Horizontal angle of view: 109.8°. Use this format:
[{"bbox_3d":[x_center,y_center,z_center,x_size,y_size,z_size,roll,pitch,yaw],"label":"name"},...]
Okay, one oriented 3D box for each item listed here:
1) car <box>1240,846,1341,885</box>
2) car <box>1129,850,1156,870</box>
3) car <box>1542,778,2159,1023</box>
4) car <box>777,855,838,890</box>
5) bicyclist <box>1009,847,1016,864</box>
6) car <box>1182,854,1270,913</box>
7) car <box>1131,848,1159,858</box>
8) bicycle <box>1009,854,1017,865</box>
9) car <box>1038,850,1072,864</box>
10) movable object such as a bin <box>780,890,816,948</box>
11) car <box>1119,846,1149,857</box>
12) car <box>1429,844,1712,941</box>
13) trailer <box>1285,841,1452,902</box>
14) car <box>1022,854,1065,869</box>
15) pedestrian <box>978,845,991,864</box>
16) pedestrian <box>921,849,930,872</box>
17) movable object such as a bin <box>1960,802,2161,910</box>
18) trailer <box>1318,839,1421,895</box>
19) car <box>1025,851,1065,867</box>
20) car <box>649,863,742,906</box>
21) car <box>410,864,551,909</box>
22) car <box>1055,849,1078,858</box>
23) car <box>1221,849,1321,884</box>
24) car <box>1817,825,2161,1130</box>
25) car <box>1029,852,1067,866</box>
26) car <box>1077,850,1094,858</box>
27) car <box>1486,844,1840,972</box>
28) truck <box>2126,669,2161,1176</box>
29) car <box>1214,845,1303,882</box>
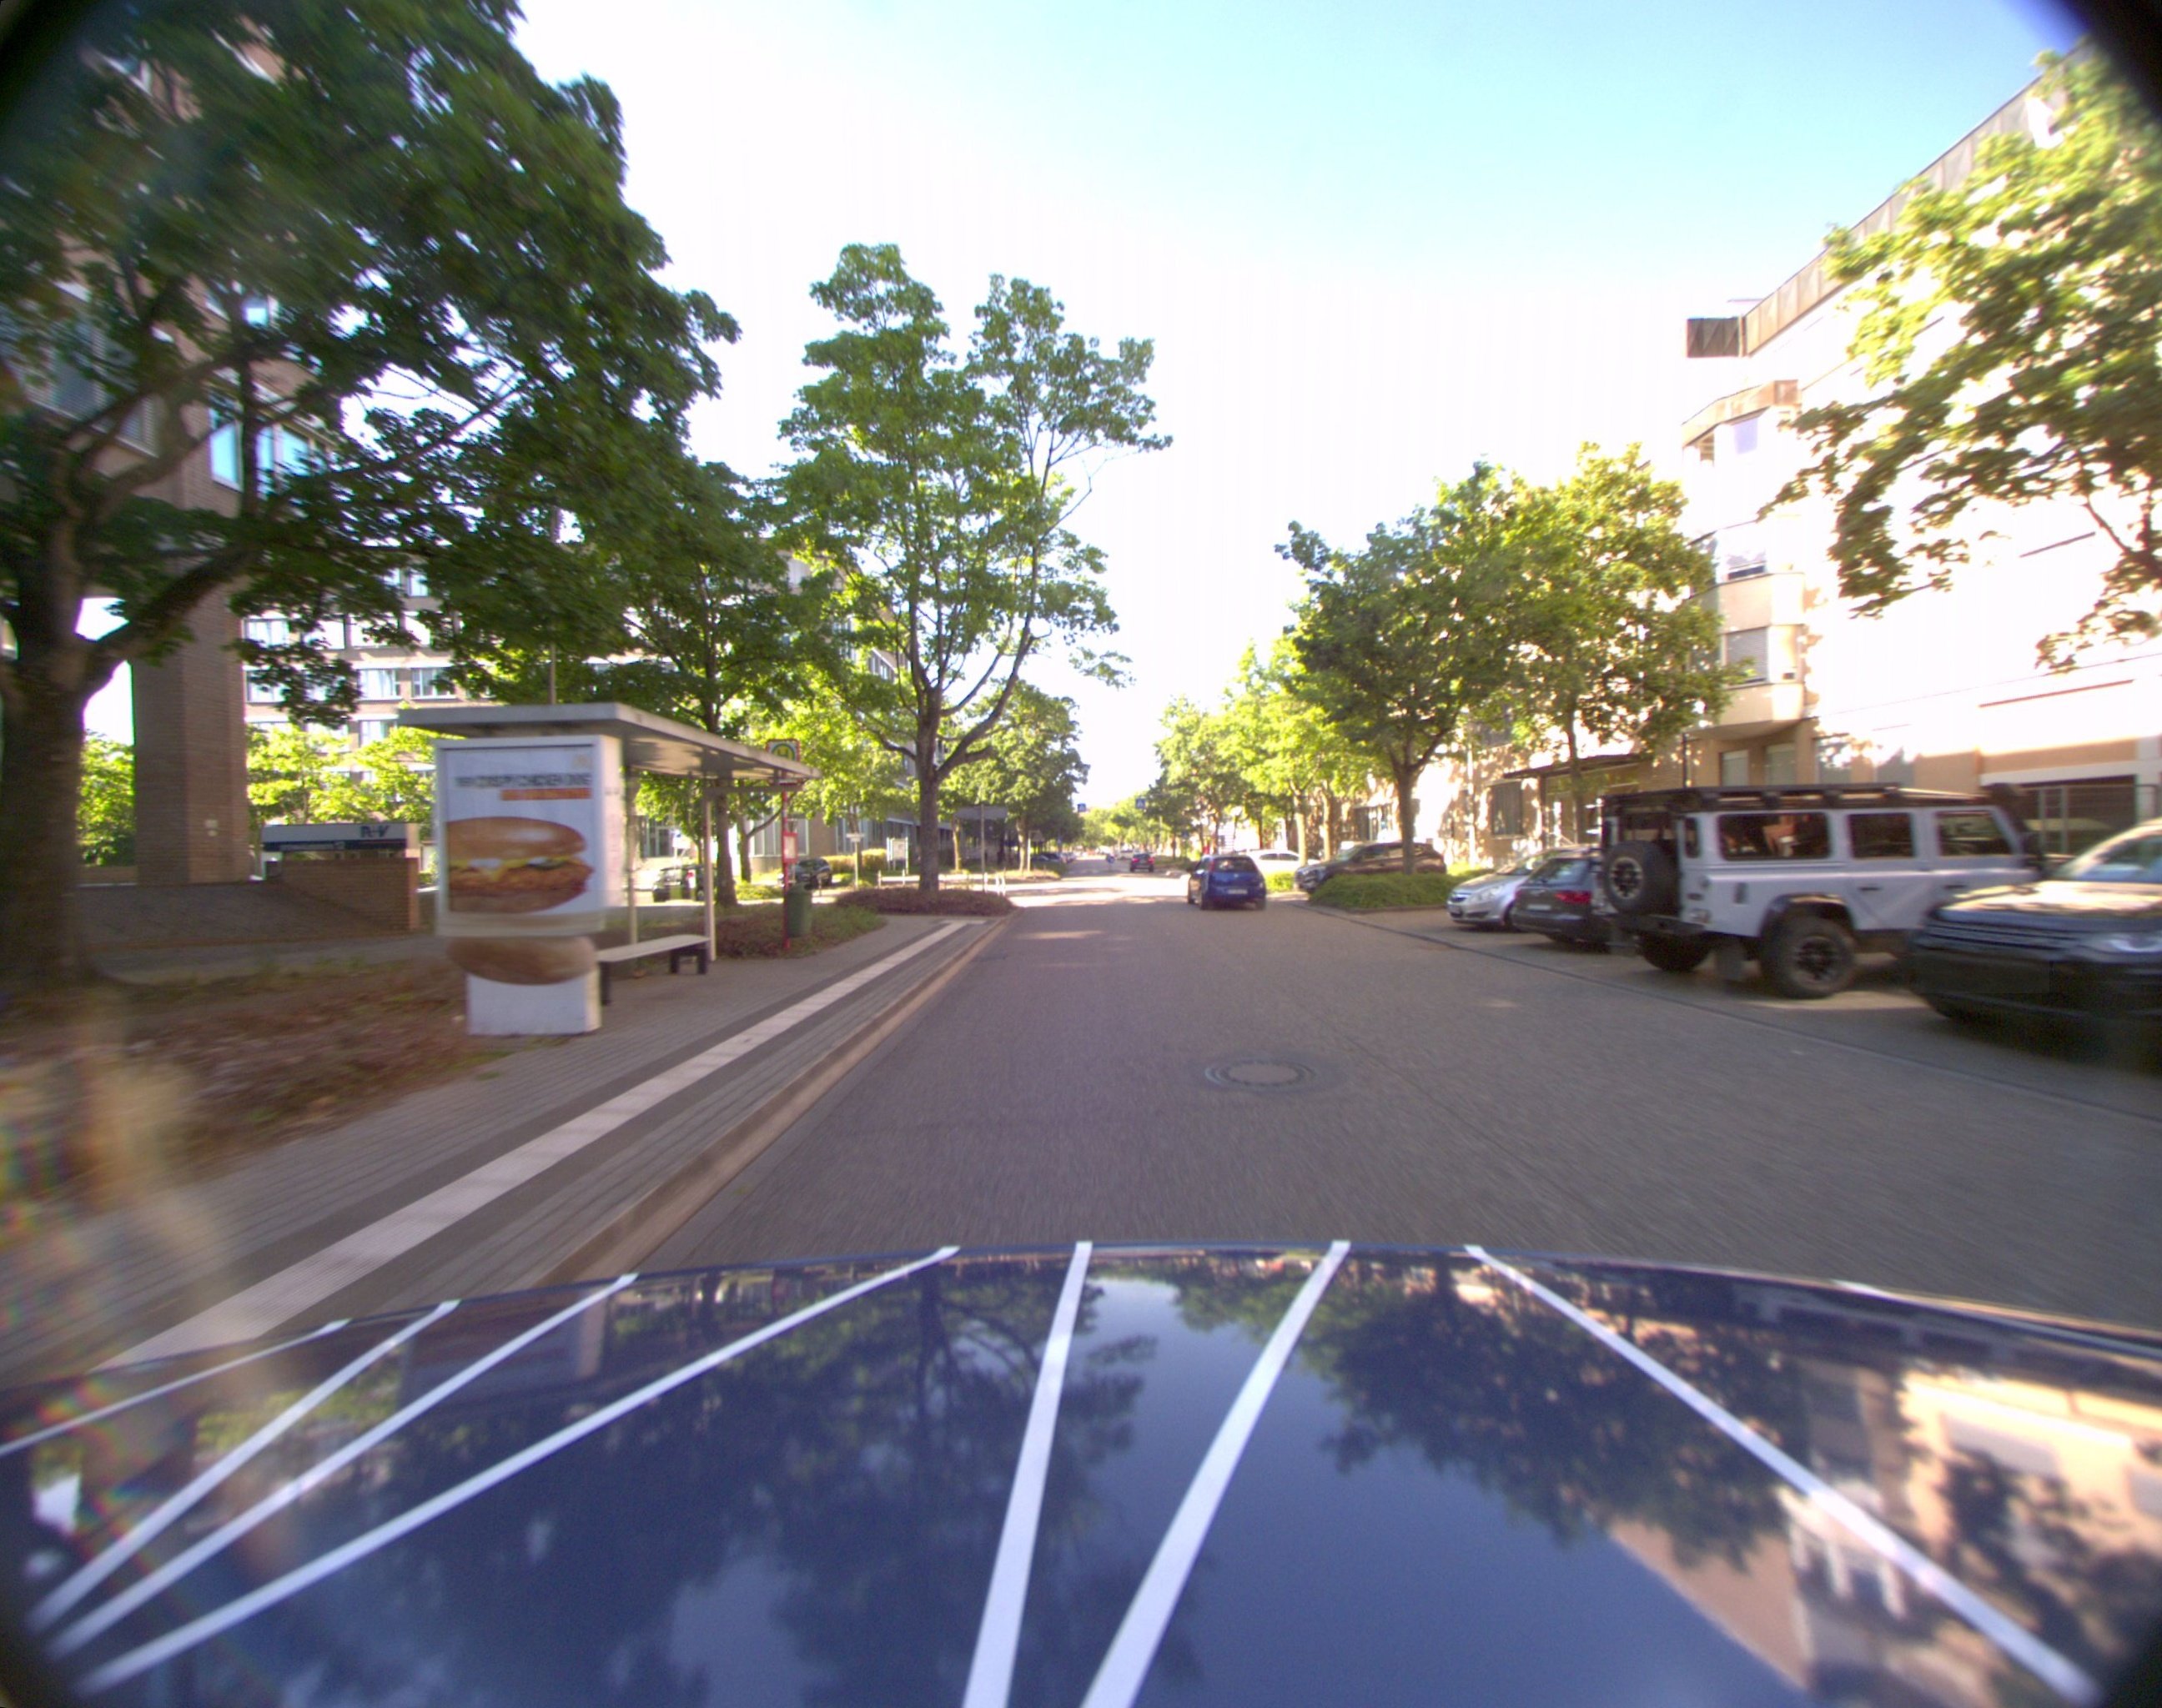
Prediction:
[{"bbox_3d":[8.877,0.476,32.434,3.764,1.444,1.754,-3,1,0],"label":"car"},{"bbox_3d":[4.843,0.421,60.131,1.784,1.503,4.000,-1,0,1],"label":"car"},{"bbox_3d":[7.721,0.412,7.990,4.493,2.040,1.999,-3,1,-1],"label":"car"},{"bbox_3d":[-14.691,0.972,41.073,1.742,1.557,4.363,-2,2,-2],"label":"car"},{"bbox_3d":[-6.667,0.171,74.193,0.538,1.627,0.822,-1,1,1],"label":"bicyclist"},{"bbox_3d":[3.879,0.738,20.916,1.648,1.412,4.000,-1,0,0],"label":"car"},{"bbox_3d":[9.497,-0.173,112.820,4.003,1.411,1.618,-2,1,0],"label":"car"},{"bbox_3d":[-6.663,0.507,74.068,0.535,1.072,1.920,-1,0,1],"label":"bicycle"},{"bbox_3d":[-3.181,0.351,92.882,4.136,1.657,1.907,-1,1,-4],"label":"car"},{"bbox_3d":[-3.845,0.877,10.341,0.299,0.749,0.467,1,1,0],"label":"movable object such as a bin"},{"bbox_3d":[9.461,-0.450,135.320,5.317,1.876,2.000,-1,1,2],"label":"car"},{"bbox_3d":[8.532,0.638,13.516,3.843,1.452,1.733,-3,1,4],"label":"car"},{"bbox_3d":[8.616,0.496,22.993,4.272,1.563,1.855,-3,1,-3],"label":"trailer"},{"bbox_3d":[-3.668,0.746,74.609,4.127,1.363,1.654,1,1,-3],"label":"car"},{"bbox_3d":[-9.403,0.080,74.001,1.037,1.788,1.018,-3,1,0],"label":"pedestrian"},{"bbox_3d":[-10.884,0.472,53.264,0.539,1.573,0.648,-1,1,-9],"label":"pedestrian"},{"bbox_3d":[17.424,0.034,13.530,1.603,1.786,1.664,-1,1,0],"label":"movable object such as a bin"},{"bbox_3d":[9.601,0.430,25.415,2.732,1.677,1.712,-3,0,1],"label":"trailer"},{"bbox_3d":[-3.750,0.541,79.406,4.136,1.581,1.659,1,2,-4],"label":"car"},{"bbox_3d":[-14.397,1.089,28.596,1.657,1.454,3.916,-1,0,-4],"label":"car"},{"bbox_3d":[-22.521,1.158,28.734,1.693,1.452,4.273,-1,0,4],"label":"car"},{"bbox_3d":[-2.643,-0.114,137.468,3.998,1.471,1.804,-1,1,-2],"label":"car"},{"bbox_3d":[8.785,0.563,35.388,4.162,1.394,1.801,-3,1,0],"label":"car"},{"bbox_3d":[8.163,0.639,5.307,4.118,1.652,1.999,-3,1,-1],"label":"car"},{"bbox_3d":[-3.638,0.535,83.502,4.136,1.453,1.659,1,1,-4],"label":"car"},{"bbox_3d":[0.879,0.053,161.669,3.554,1.544,1.743,0,-1,-2],"label":"car"},{"bbox_3d":[8.207,0.697,10.927,3.790,1.484,1.832,-3,0,-6],"label":"car"},{"bbox_3d":[8.227,0.289,2.579,6.247,2.408,2.187,-1,1,1],"label":"truck"},{"bbox_3d":[8.822,0.461,37.968,3.997,1.561,1.728,-4,1,0],"label":"car"}]
